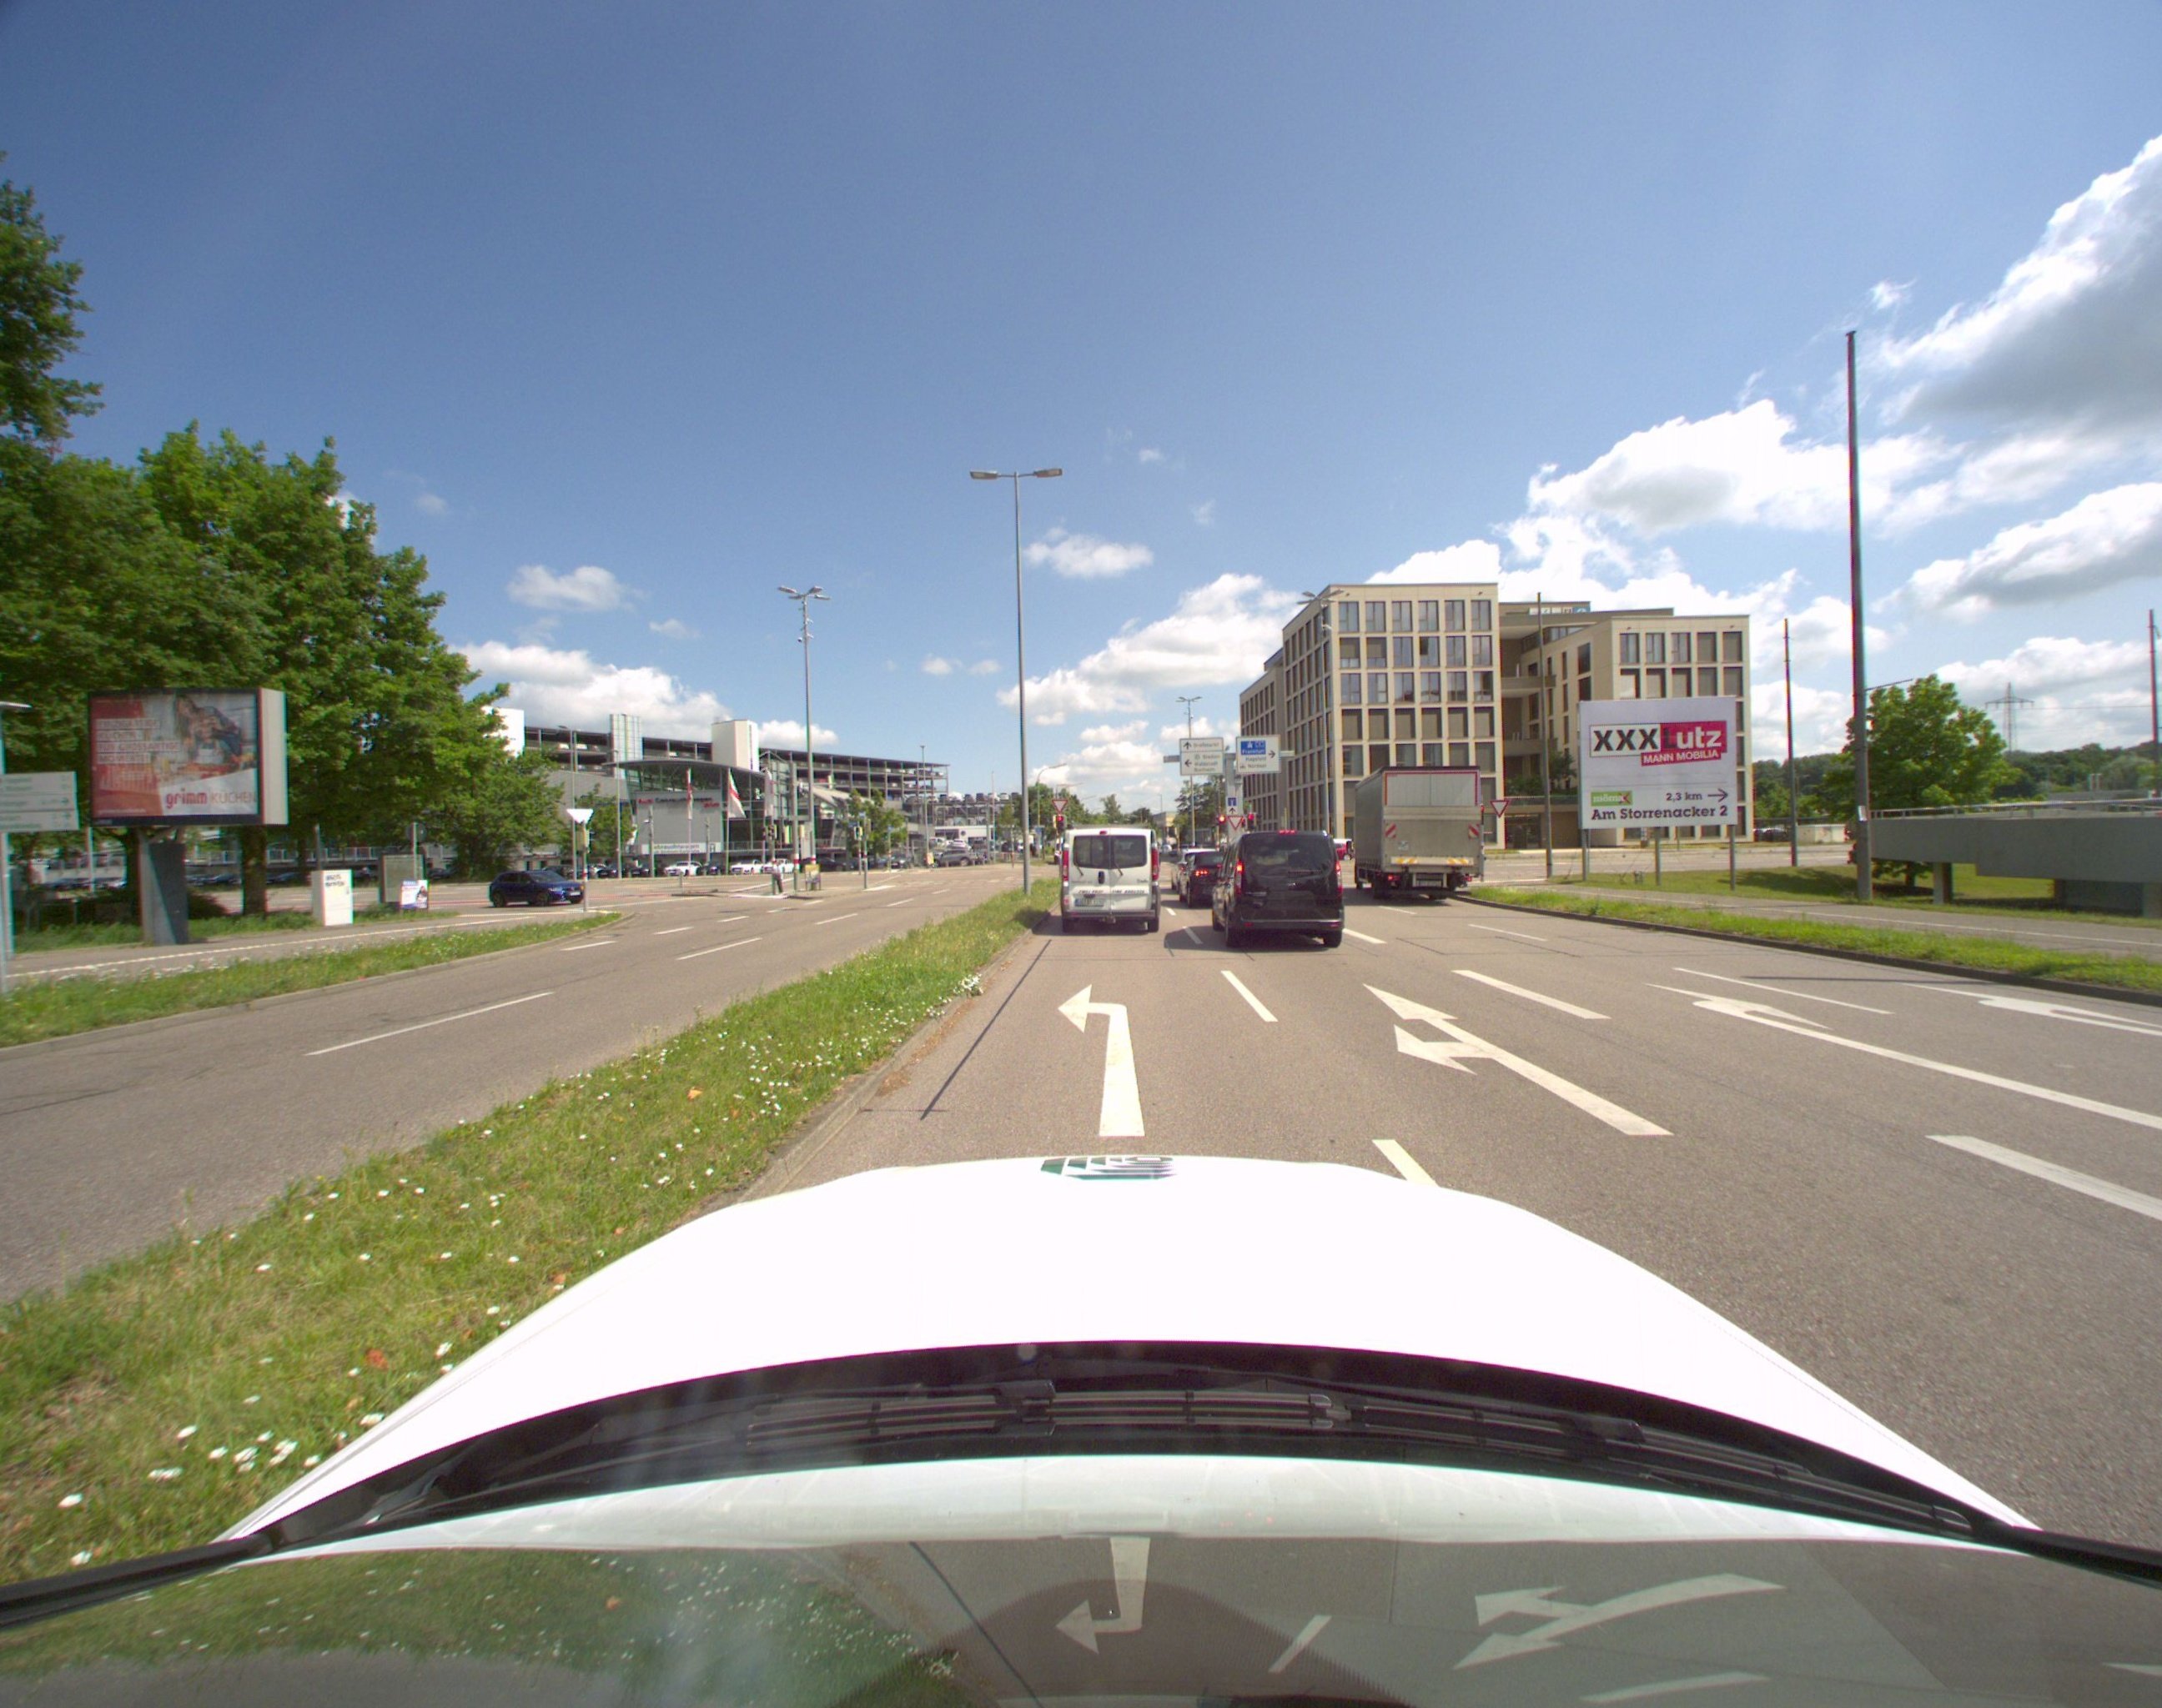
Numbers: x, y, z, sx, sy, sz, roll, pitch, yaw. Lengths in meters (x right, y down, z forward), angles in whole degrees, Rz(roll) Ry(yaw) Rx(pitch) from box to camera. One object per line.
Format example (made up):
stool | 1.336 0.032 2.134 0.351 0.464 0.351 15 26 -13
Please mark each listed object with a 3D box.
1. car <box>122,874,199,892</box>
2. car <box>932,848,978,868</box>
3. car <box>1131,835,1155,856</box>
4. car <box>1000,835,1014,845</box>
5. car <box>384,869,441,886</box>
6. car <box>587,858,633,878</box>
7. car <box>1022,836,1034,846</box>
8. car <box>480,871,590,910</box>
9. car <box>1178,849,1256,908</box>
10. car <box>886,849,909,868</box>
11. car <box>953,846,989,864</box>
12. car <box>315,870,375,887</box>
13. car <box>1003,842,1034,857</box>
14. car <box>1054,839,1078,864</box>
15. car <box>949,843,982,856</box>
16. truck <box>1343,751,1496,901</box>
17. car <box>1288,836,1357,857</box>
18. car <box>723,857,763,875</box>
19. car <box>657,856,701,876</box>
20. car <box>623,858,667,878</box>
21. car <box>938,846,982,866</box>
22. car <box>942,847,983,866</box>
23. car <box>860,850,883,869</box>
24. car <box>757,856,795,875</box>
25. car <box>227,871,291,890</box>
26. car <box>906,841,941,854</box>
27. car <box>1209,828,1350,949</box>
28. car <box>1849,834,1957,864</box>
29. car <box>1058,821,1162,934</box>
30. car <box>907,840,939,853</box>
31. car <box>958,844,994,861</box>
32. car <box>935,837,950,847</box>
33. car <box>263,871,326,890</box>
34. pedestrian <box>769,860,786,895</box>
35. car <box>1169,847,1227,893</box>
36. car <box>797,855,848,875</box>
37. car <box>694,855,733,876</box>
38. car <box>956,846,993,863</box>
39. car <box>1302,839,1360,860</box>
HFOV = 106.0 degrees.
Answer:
car | -77.241 2.380 68.400 1.790 1.254 4.003 -1 1 2
car | -11.638 0.326 75.318 3.851 1.639 1.857 -3 1 -2
car | 6.915 -0.950 91.462 1.989 2.255 5.509 -1 1 -3
car | -11.567 -2.138 127.655 1.841 1.530 3.997 -1 1 -2
car | -53.858 1.887 65.700 1.585 1.191 3.506 -1 0 2
car | -40.776 1.178 70.554 1.810 1.664 3.791 -1 0 -2
car | -8.324 -2.077 127.846 1.841 1.530 3.997 -1 1 -2
car | -25.083 1.654 37.436 3.957 1.509 2.009 -2 2 16
car | 3.742 0.629 22.925 1.733 1.495 4.003 0 0 3
car | -15.913 0.355 70.448 1.820 1.552 3.980 -1 0 -15
car | -11.568 0.136 85.995 3.498 1.712 1.602 -3 1 -2
car | -59.948 1.979 66.406 1.585 1.191 3.506 -1 0 2
car | -8.227 -0.557 106.707 3.980 1.925 1.824 -1 0 -5
car | -1.395 -0.265 77.294 1.964 2.256 4.982 -3 1 1
car | -15.060 -0.554 106.147 4.157 1.712 1.687 0 1 -4
truck | 10.377 -0.809 26.037 3.108 3.940 8.891 -1 1 13
car | 19.293 -0.593 65.227 4.967 1.607 2.000 -1 1 -1
car | -28.826 0.989 69.517 1.902 1.376 3.750 -1 1 -2
car | -34.238 0.994 69.443 1.874 1.486 3.699 -1 1 -1
car | -37.071 1.166 69.349 1.722 1.486 3.699 -1 1 -1
car | -11.535 0.166 77.948 3.902 1.712 1.688 -3 1 -2
car | -11.953 0.222 82.410 3.902 1.712 1.688 -3 1 -2
car | -17.997 0.434 69.941 1.820 1.552 3.980 -1 0 -15
car | -26.136 0.989 69.941 1.771 1.450 4.027 -1 1 -1
car | -67.297 2.171 66.732 1.585 1.390 3.506 -1 0 2
car | -20.246 -0.833 104.760 4.156 1.713 1.687 -1 0 -4
car | 3.275 0.497 14.156 1.811 1.808 4.006 0 0 5
car | 42.272 -0.265 41.953 3.836 1.466 1.696 -1 1 1
car | 0.673 0.424 16.707 1.847 2.018 4.005 0 0 4
car | -22.246 -1.027 114.681 4.156 1.713 1.687 -1 0 -4
car | -12.120 -0.210 94.156 3.902 1.712 1.688 -3 1 -2
car | -21.953 -1.859 129.204 1.841 1.530 3.997 -1 1 -2
car | -63.910 2.146 66.263 1.585 1.390 3.506 -1 0 2
pedestrian | -13.365 1.041 35.906 0.464 1.512 0.515 -1 0 27
car | 4.192 0.538 29.721 1.733 1.543 4.003 0 0 3
car | -22.034 0.930 69.566 3.783 1.513 1.677 -1 1 -3
car | -31.320 0.927 69.500 1.752 1.660 3.614 -1 1 -2
car | -11.864 0.059 90.990 3.902 1.712 1.688 -3 1 -2
car | 18.738 -0.329 61.146 3.880 1.490 1.795 -1 1 1
